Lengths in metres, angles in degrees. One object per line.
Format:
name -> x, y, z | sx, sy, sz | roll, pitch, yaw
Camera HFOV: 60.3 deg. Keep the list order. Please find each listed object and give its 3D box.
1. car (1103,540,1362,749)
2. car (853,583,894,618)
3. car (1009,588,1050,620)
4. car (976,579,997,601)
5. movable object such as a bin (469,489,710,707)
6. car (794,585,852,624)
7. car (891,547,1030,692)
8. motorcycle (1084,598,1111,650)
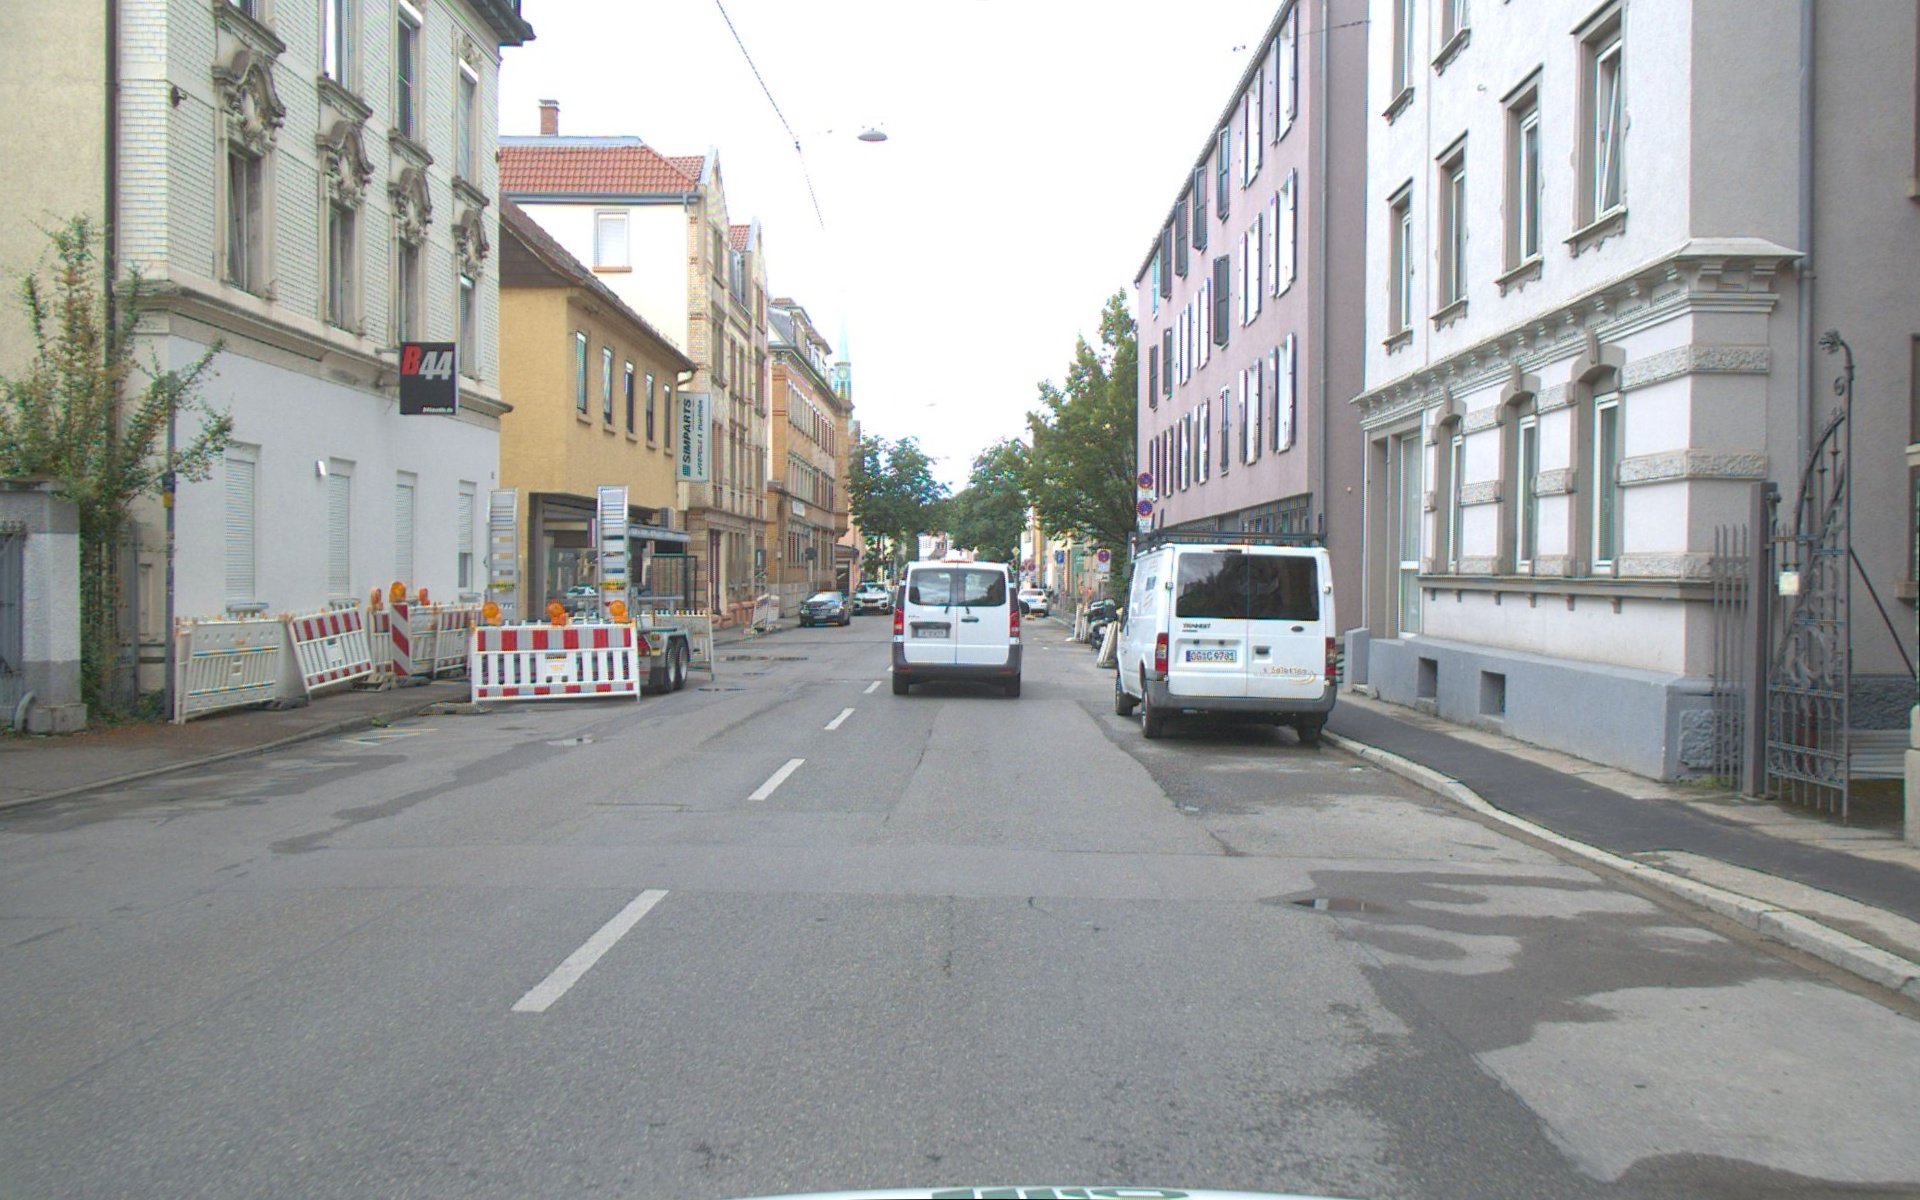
car -> 2.955, 0.426, 19.092 | 2.085, 2.040, 4.925 | 2, 1, -1
car -> -4.692, -0.006, 89.767 | 1.953, 1.771, 4.000 | 3, 1, 0
car -> 3.739, 0.197, 89.713 | 1.953, 1.511, 4.000 | 4, 1, 0
car -> 2.553, -0.950, 161.071 | 1.952, 2.049, 4.001 | 0, 0, 2
movable object such as a bin -> -5.313, -0.052, 24.463 | 2.485, 2.874, 4.539 | -1, 1, 0
car -> -5.336, 0.149, 64.880 | 1.953, 1.467, 4.000 | -1, 1, 0
car -> -0.088, 0.262, 24.938 | 1.854, 1.962, 4.642 | 1, 0, -3
motorcycle -> 3.449, 0.581, 41.625 | 0.630, 1.268, 2.269 | 1, 0, 4
